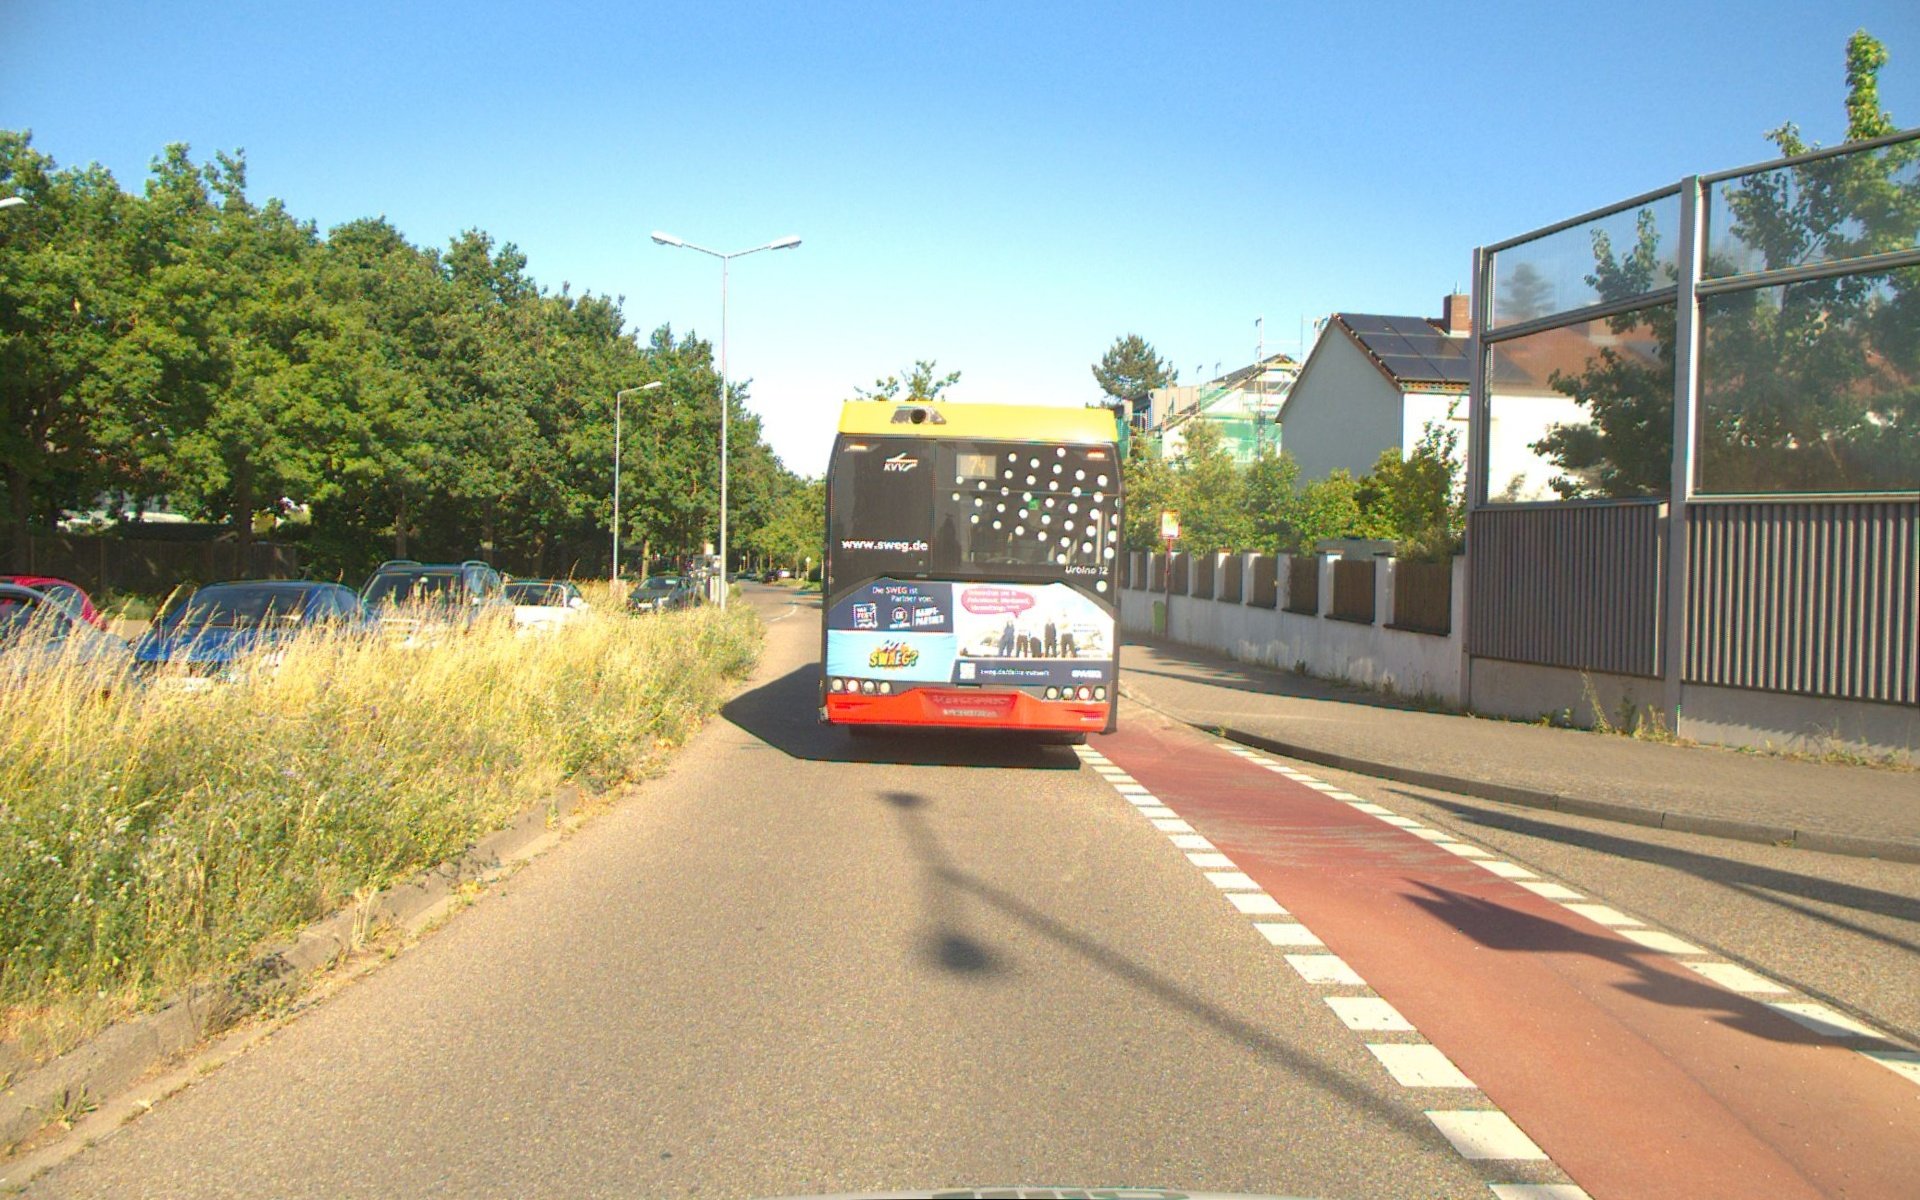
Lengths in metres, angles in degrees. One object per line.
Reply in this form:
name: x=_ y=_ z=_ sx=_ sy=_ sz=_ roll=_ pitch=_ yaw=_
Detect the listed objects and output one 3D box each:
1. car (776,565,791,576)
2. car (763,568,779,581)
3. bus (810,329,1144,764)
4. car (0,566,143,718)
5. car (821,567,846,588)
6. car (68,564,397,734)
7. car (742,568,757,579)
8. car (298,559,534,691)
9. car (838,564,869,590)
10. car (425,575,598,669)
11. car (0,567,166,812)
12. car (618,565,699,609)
car: x=-25.013 y=-4.231 z=233.860 sx=1.898 sy=1.479 sz=3.992 roll=1 pitch=1 yaw=-9
car: x=-23.730 y=-3.175 z=207.750 sx=1.897 sy=1.569 sz=3.993 roll=1 pitch=1 yaw=-8
bus: x=0.040 y=-0.480 z=19.625 sx=2.701 sy=3.518 sz=12.395 roll=0 pitch=0 yaw=-1
car: x=-10.490 y=0.400 z=17.815 sx=1.612 sy=1.509 sz=3.713 roll=0 pitch=1 yaw=-2
car: x=-10.716 y=-1.916 z=139.947 sx=1.897 sy=1.772 sz=3.993 roll=1 pitch=1 yaw=-8
car: x=-7.210 y=0.399 z=16.841 sx=1.711 sy=1.509 sz=3.887 roll=0 pitch=1 yaw=-2
car: x=-29.630 y=-3.718 z=232.945 sx=1.898 sy=1.479 sz=3.992 roll=1 pitch=1 yaw=-9
car: x=-7.451 y=0.265 z=23.167 sx=1.953 sy=1.644 sz=4.529 roll=0 pitch=1 yaw=-2
car: x=-7.597 y=-1.655 z=117.723 sx=1.899 sy=1.733 sz=3.993 roll=1 pitch=1 yaw=-8
car: x=-7.727 y=0.323 z=28.921 sx=1.953 sy=1.475 sz=4.398 roll=0 pitch=1 yaw=-2
car: x=-6.974 y=0.572 z=10.513 sx=1.757 sy=1.532 sz=4.529 roll=0 pitch=1 yaw=-2
car: x=-10.448 y=-0.480 z=57.641 sx=1.673 sy=1.455 sz=4.003 roll=0 pitch=1 yaw=6
